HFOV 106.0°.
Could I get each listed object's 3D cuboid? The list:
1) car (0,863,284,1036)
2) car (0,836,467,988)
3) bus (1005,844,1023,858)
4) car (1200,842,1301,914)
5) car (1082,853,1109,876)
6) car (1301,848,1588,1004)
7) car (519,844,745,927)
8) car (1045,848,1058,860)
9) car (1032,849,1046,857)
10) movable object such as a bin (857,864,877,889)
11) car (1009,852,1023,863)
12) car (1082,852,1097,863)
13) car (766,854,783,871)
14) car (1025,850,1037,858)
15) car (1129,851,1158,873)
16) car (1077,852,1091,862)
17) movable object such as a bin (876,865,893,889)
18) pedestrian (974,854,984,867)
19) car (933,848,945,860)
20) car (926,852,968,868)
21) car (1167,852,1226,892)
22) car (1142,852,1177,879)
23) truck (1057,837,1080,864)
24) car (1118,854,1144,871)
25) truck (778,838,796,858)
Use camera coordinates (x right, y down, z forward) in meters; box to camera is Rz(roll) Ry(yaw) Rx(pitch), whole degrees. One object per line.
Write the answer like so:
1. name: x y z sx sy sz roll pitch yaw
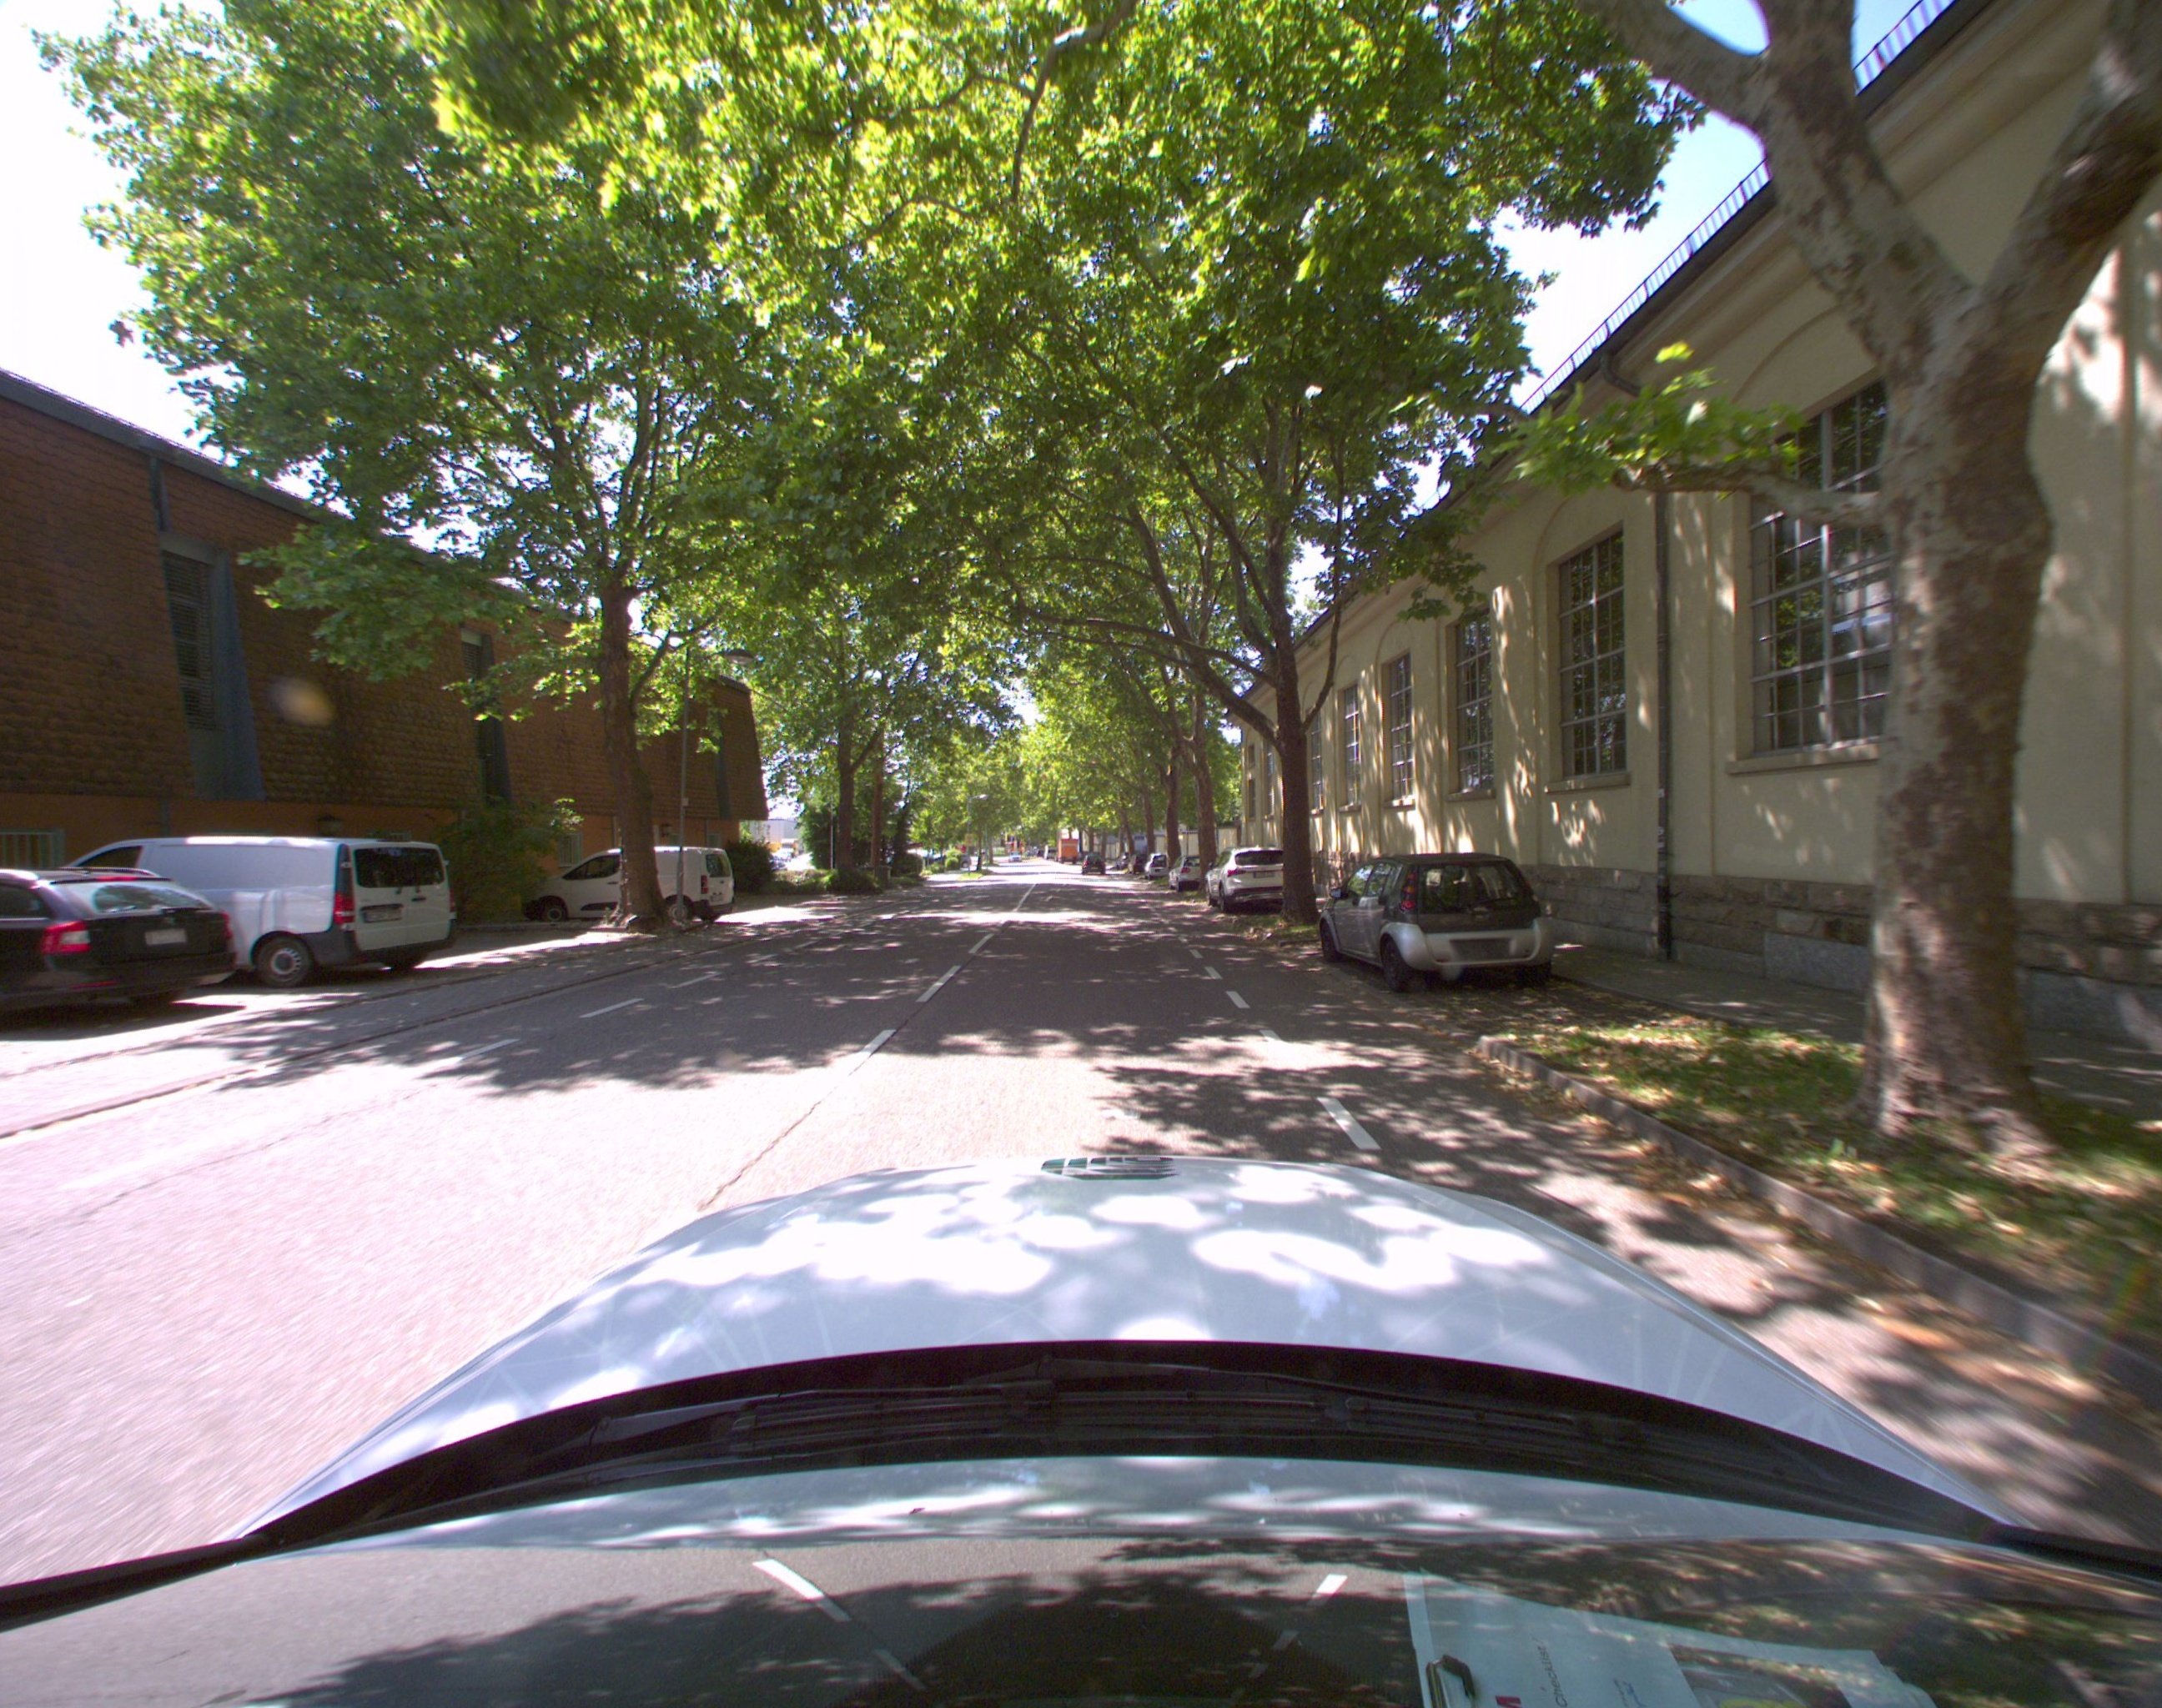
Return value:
1. car: -10.964 0.862 8.171 3.976 1.515 1.867 0 0 -2
2. car: -11.029 0.701 10.682 4.411 1.804 1.902 0 0 -2
3. bus: -15.482 -0.631 187.533 2.665 3.150 11.154 -2 0 -11
4. car: 4.495 0.583 22.311 1.801 1.689 4.753 -3 0 1
5. car: 1.002 0.723 58.610 1.706 1.447 4.056 -2 2 -1
6. car: 4.120 0.693 10.104 1.615 1.439 4.434 -3 0 1
7. car: -10.258 0.707 18.852 4.117 1.804 1.902 0 0 -2
8. car: -4.617 0.001 125.790 1.875 1.686 3.994 -1 -1 -4
9. car: -7.303 -0.176 141.030 1.768 1.374 3.715 -3 0 -12
10. movable object such as a bin: -9.724 1.011 37.019 0.732 1.078 0.701 -1 0 1
11. car: -9.072 0.496 112.959 1.709 1.447 4.048 -2 0 -7
12. car: 1.108 0.450 106.170 1.763 1.374 3.725 -1 0 -3
13. car: -39.051 1.095 103.746 2.001 2.014 3.972 -1 -1 -21
14. car: -9.698 0.050 156.955 1.767 1.374 3.715 -3 0 -11
15. car: 4.561 0.551 59.938 1.761 1.466 3.874 -3 0 0
16. car: 0.414 0.470 118.024 1.763 1.374 3.725 -3 0 -3
17. movable object such as a bin: -8.971 1.037 37.173 0.621 1.048 0.620 -1 0 1
18. pedestrian: -11.622 0.741 93.177 1.093 1.520 0.967 -1 0 -8
19. car: -25.179 0.078 144.619 1.995 2.014 3.984 -1 -1 -11
20. car: -14.107 0.630 85.797 4.007 1.666 1.983 -1 -1 -26
21. car: 4.589 0.672 32.923 1.761 1.433 3.874 -3 0 0
22. car: 4.523 0.646 47.379 1.572 1.466 3.874 -3 0 0
23. truck: -1.628 -0.383 100.558 2.367 3.134 5.758 -1 -1 -5
24. car: 4.247 0.706 69.782 1.763 1.374 3.725 -3 0 -3
25. truck: -44.571 -0.889 123.371 2.329 2.892 6.534 -1 -1 -21
